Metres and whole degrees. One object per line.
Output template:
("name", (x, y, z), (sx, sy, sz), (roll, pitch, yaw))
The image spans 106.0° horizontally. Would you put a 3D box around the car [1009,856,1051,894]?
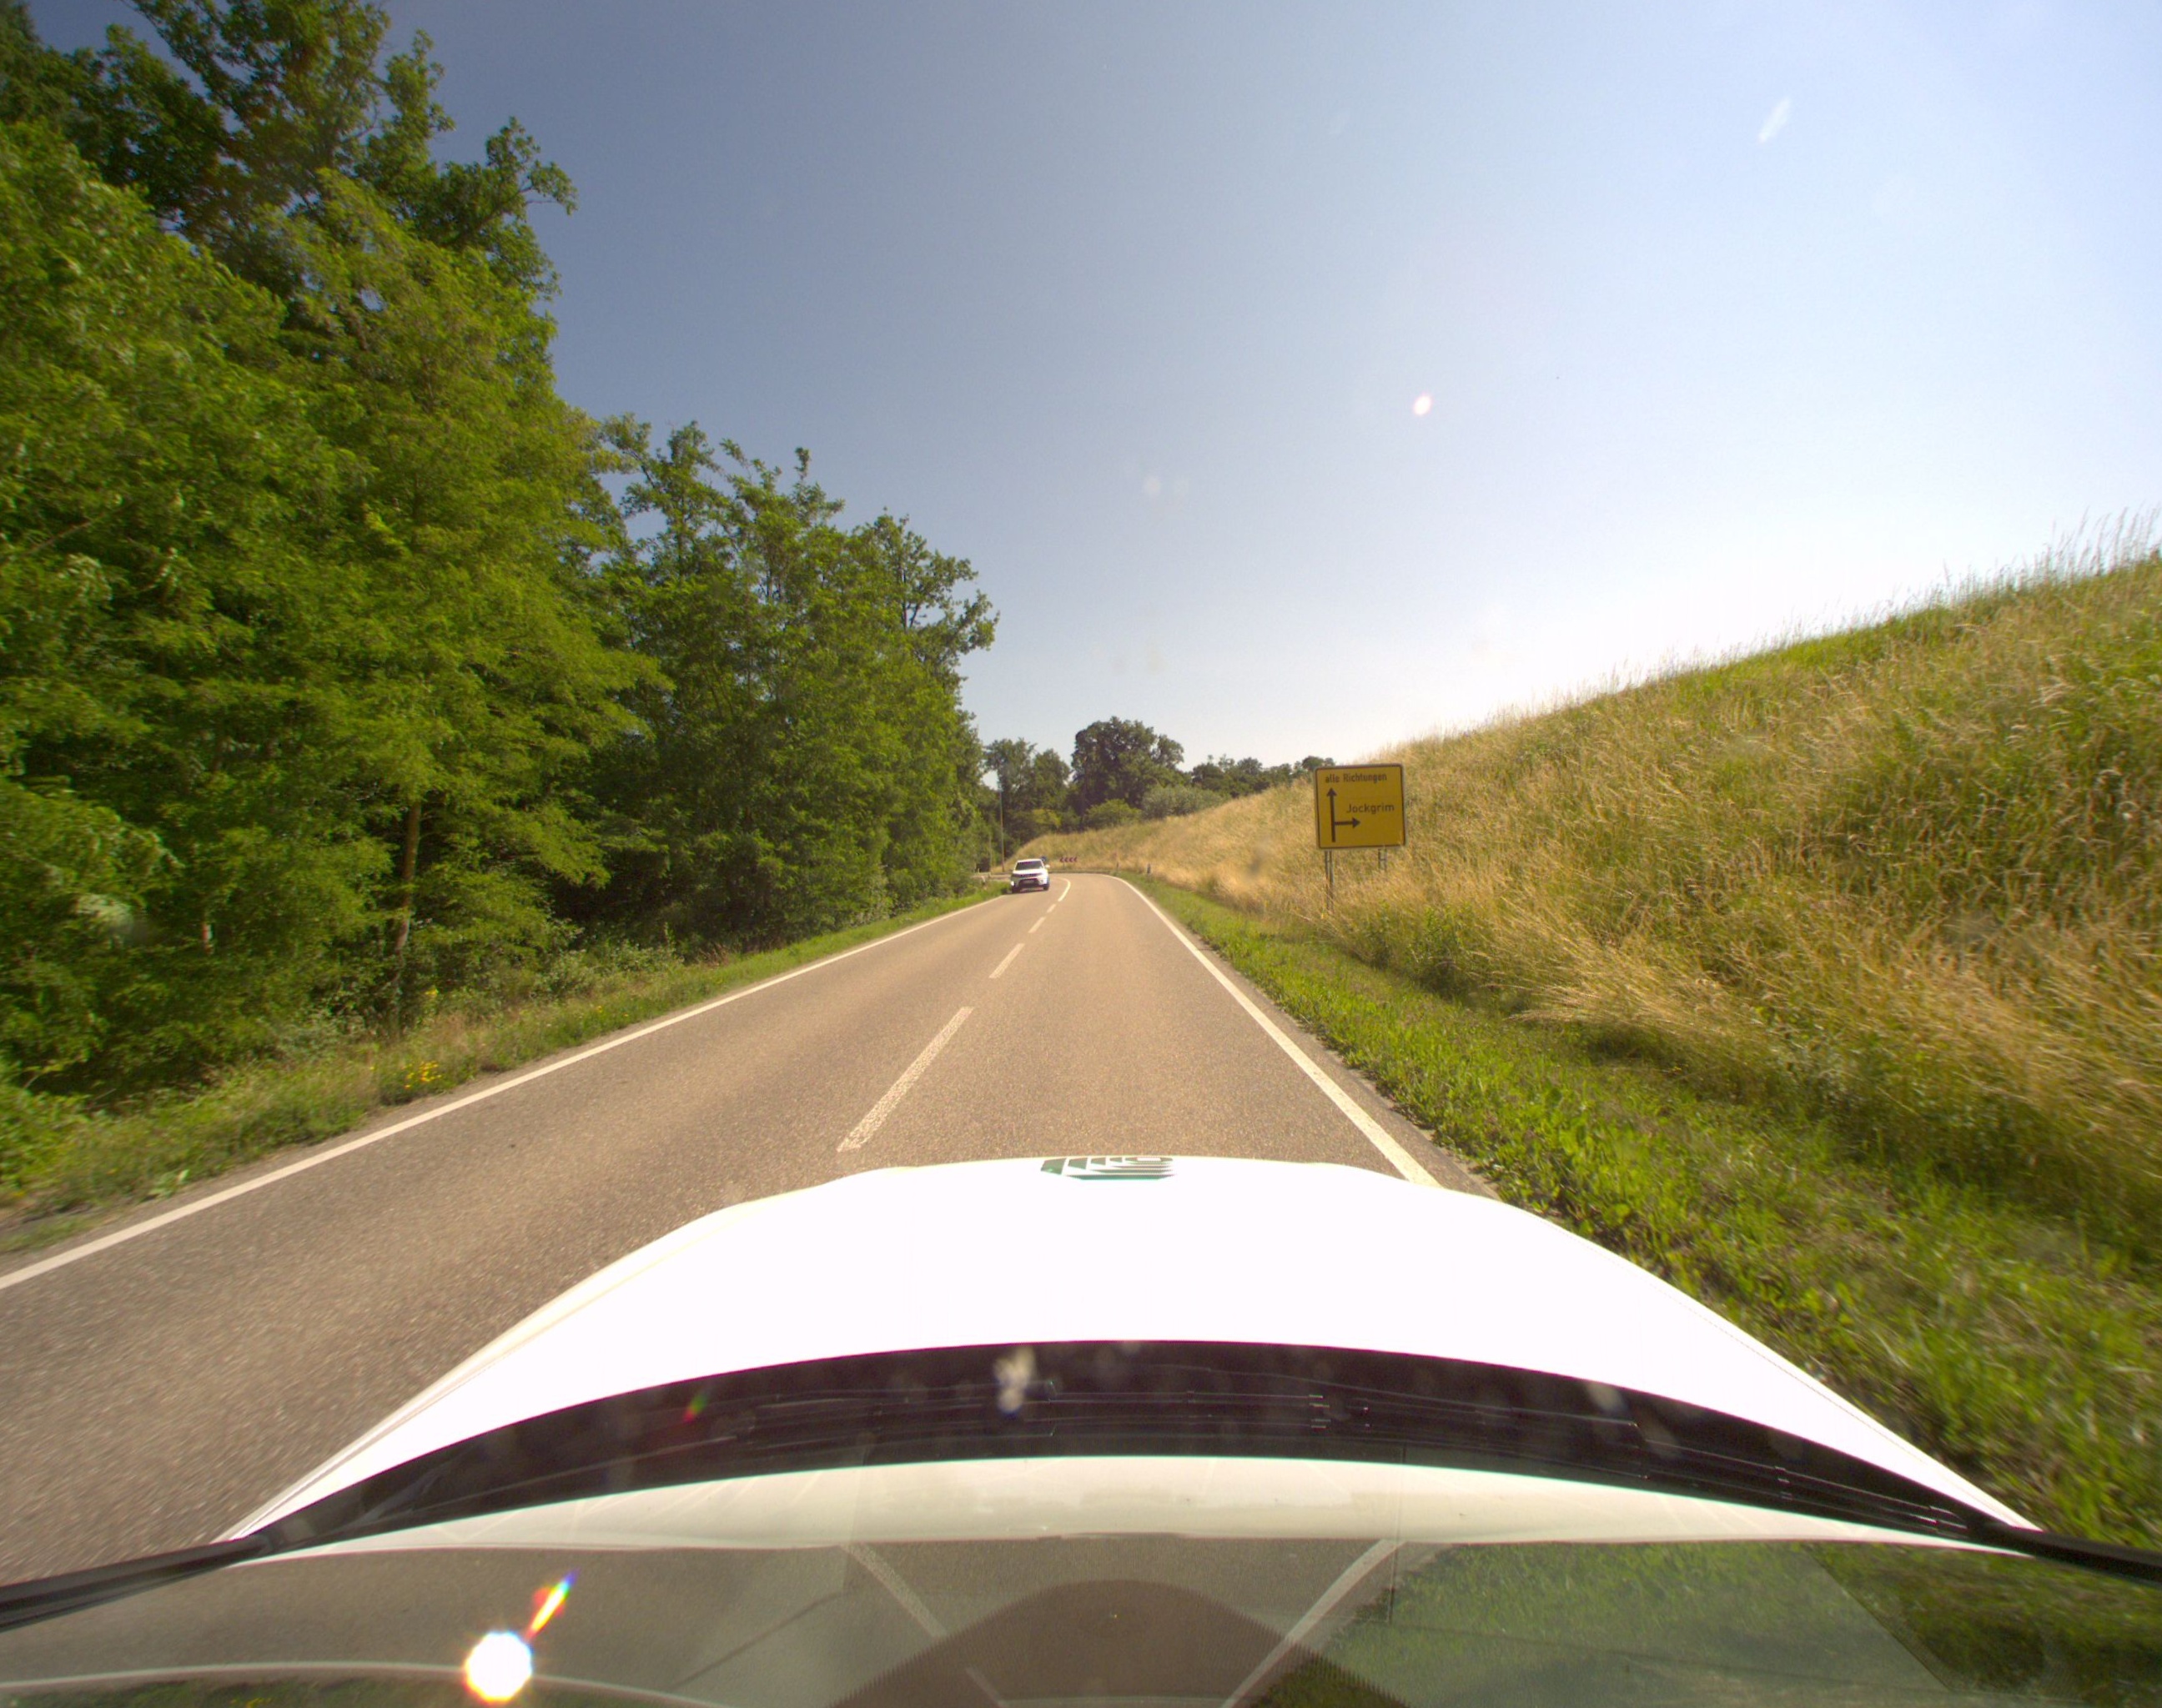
("car", (-2.501, 0.996, 40.595), (1.804, 1.676, 3.998), (-5, 0, -1))
